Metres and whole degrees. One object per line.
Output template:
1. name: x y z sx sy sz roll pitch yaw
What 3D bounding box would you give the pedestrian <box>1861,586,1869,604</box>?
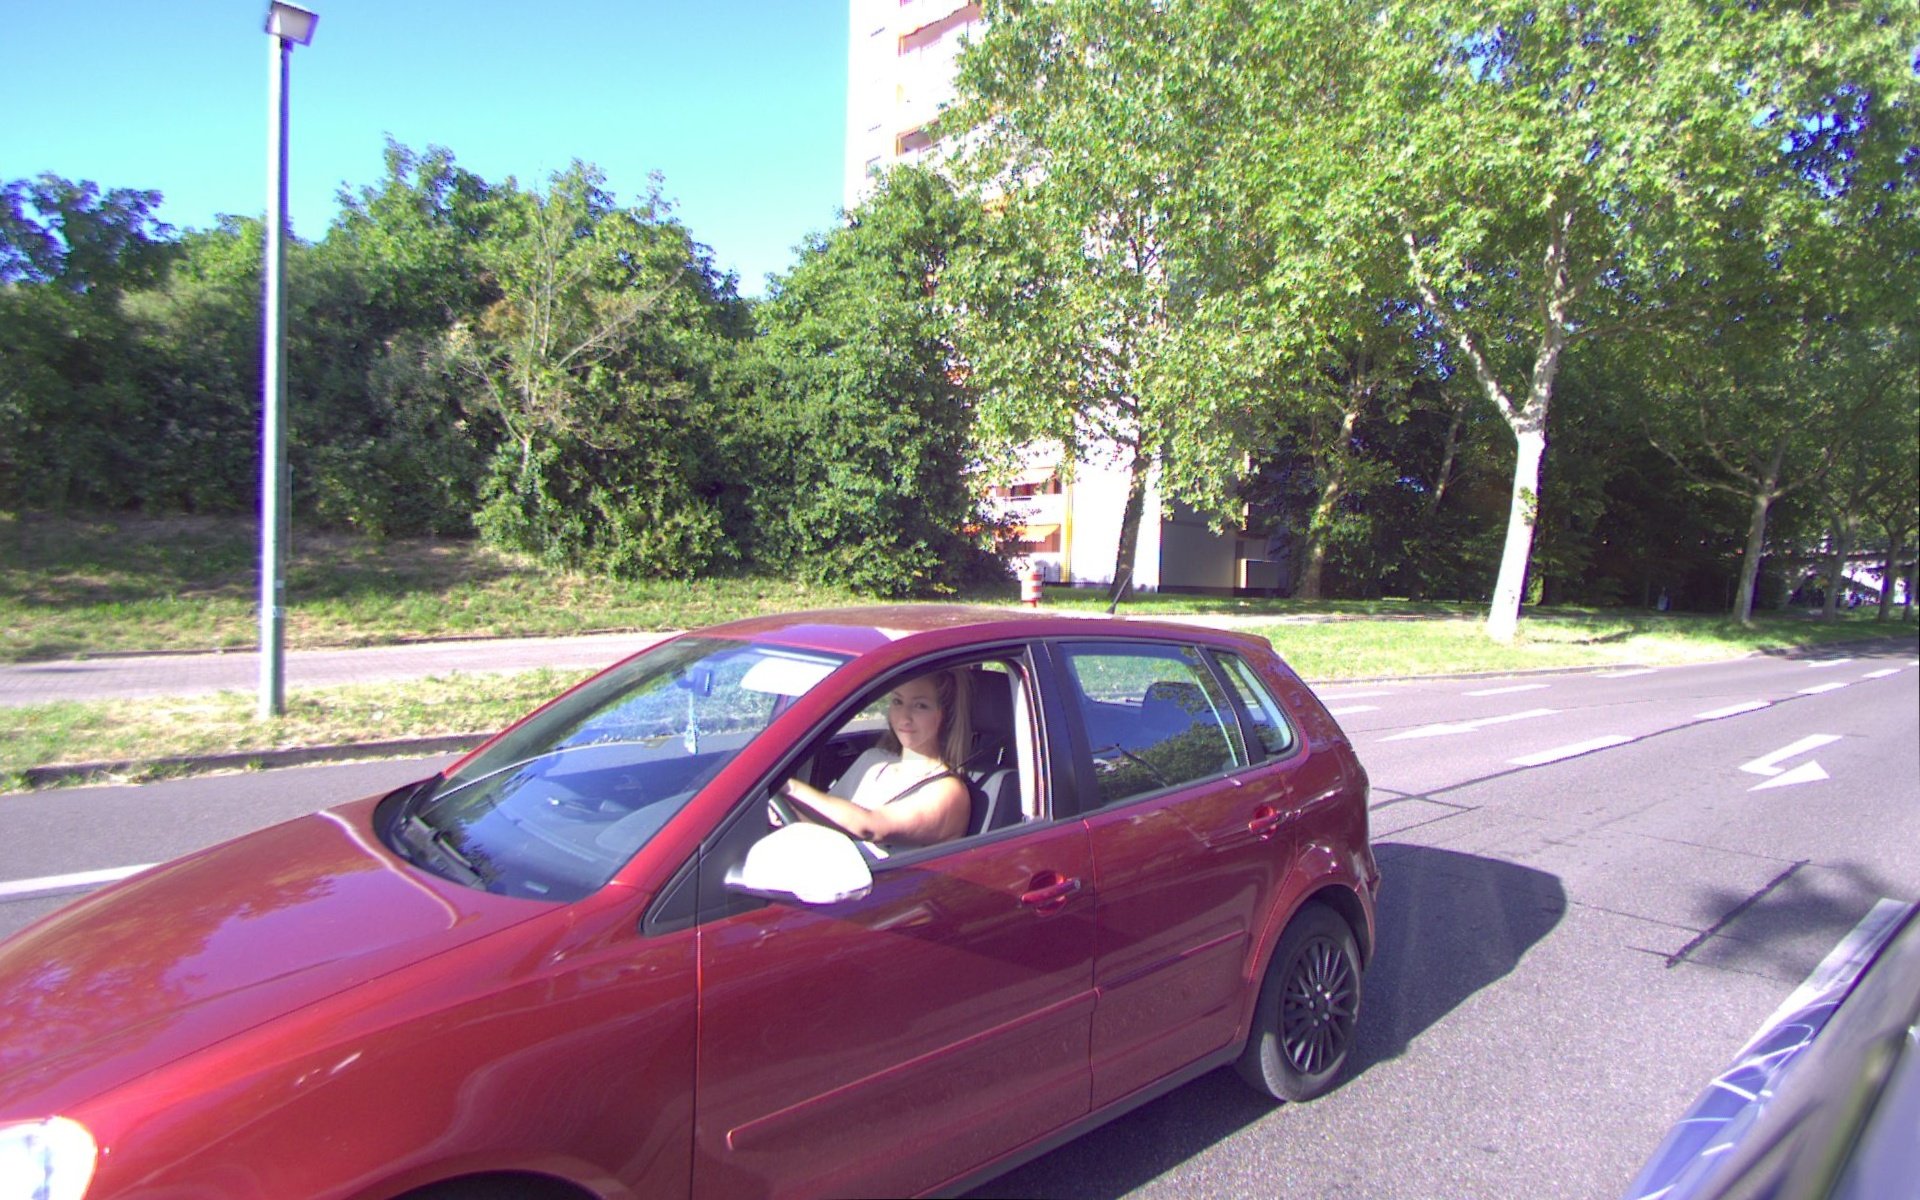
1. pedestrian: 75.762 -0.410 84.734 0.409 1.481 0.399 0 1 -35

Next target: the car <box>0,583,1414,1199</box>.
1. car: -0.463 0.693 2.757 3.627 1.434 1.626 0 1 -39
